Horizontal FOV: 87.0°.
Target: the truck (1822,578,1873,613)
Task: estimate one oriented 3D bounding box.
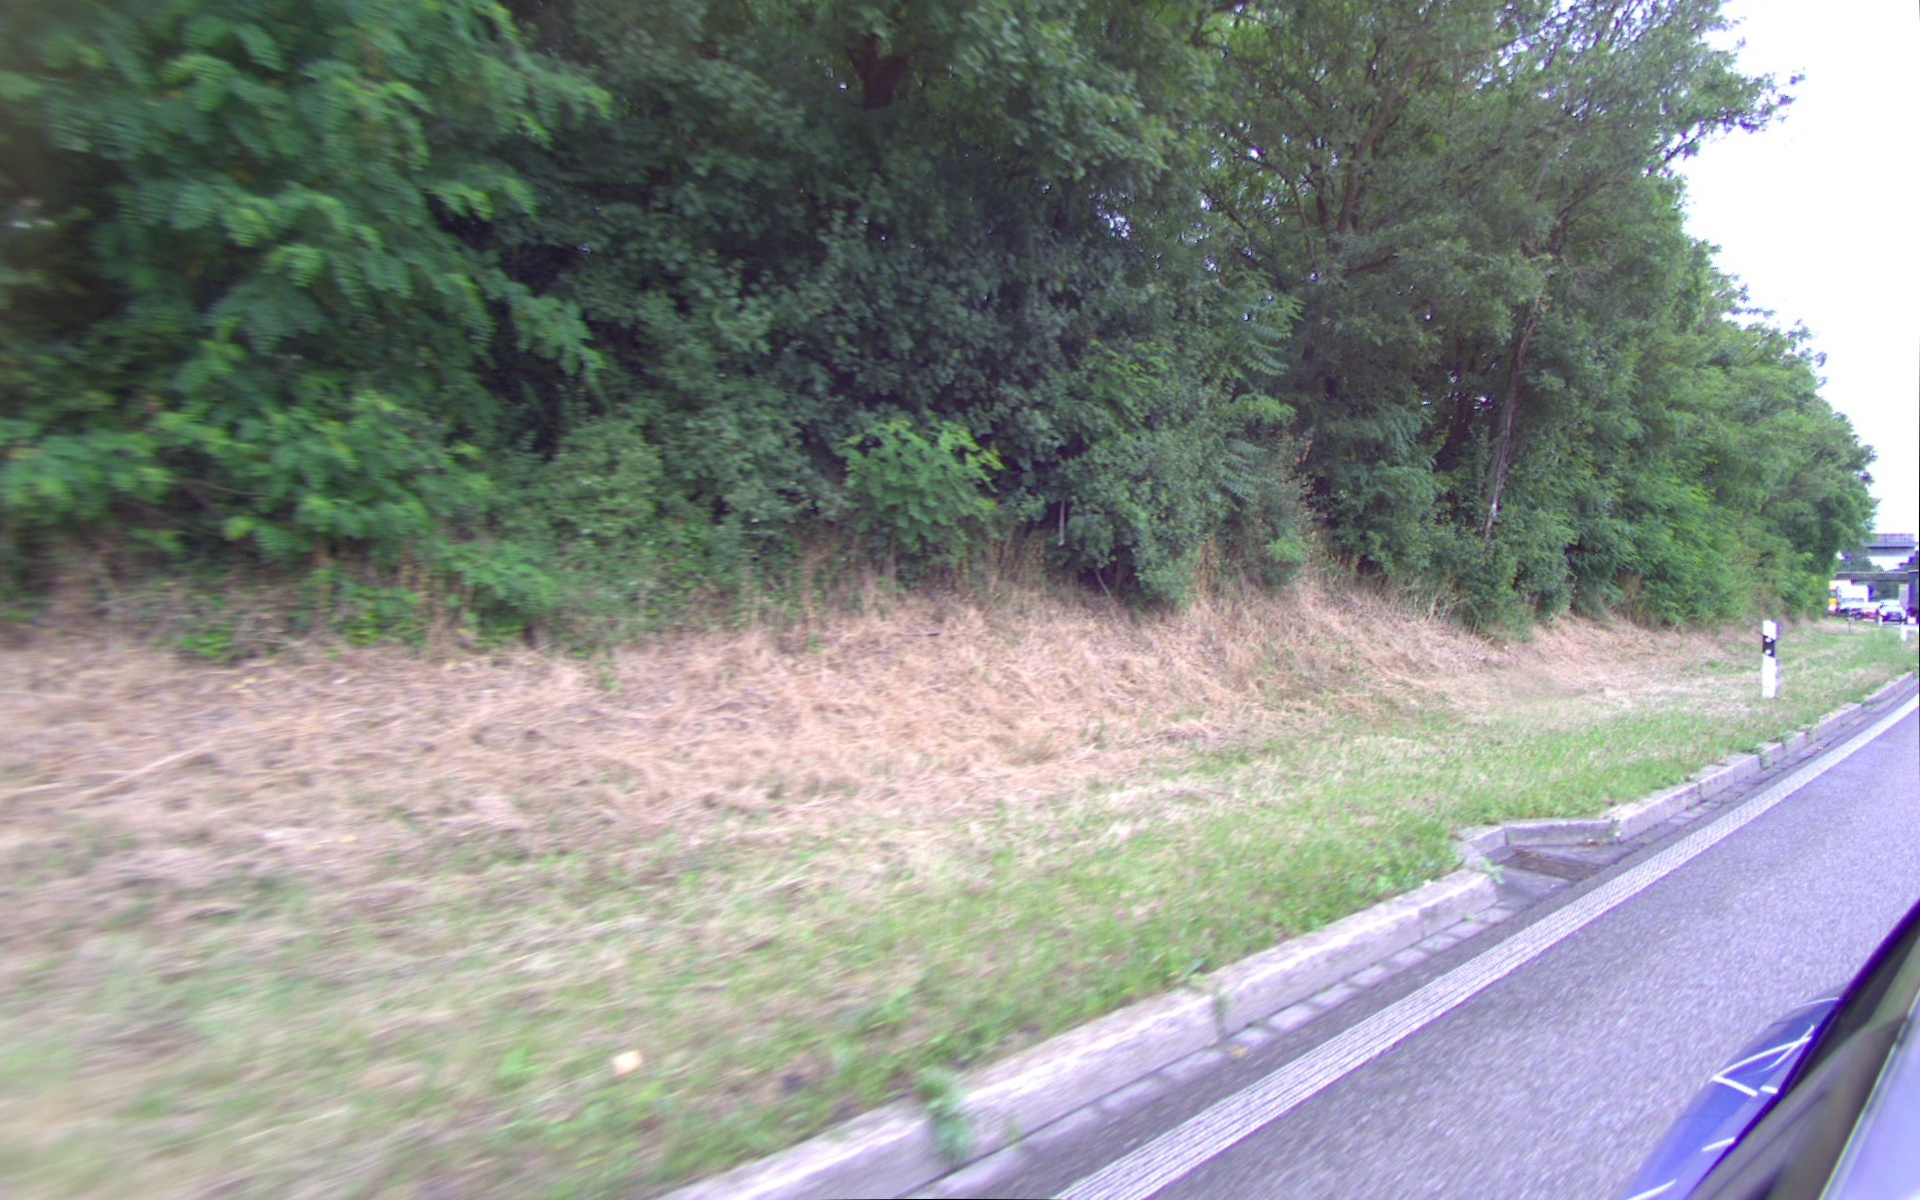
[{"bbox_3d":[109.894,-0.620,125.426,3.344,4.116,10.063,0,0,33],"label":"truck"}]

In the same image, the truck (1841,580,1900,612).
[{"bbox_3d":[92.349,-0.406,102.767,3.343,3.156,7.155,0,0,33],"label":"truck"}]

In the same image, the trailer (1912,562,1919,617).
[{"bbox_3d":[70.873,-0.755,71.889,2.828,4.087,12.921,0,0,35],"label":"trailer"}]
